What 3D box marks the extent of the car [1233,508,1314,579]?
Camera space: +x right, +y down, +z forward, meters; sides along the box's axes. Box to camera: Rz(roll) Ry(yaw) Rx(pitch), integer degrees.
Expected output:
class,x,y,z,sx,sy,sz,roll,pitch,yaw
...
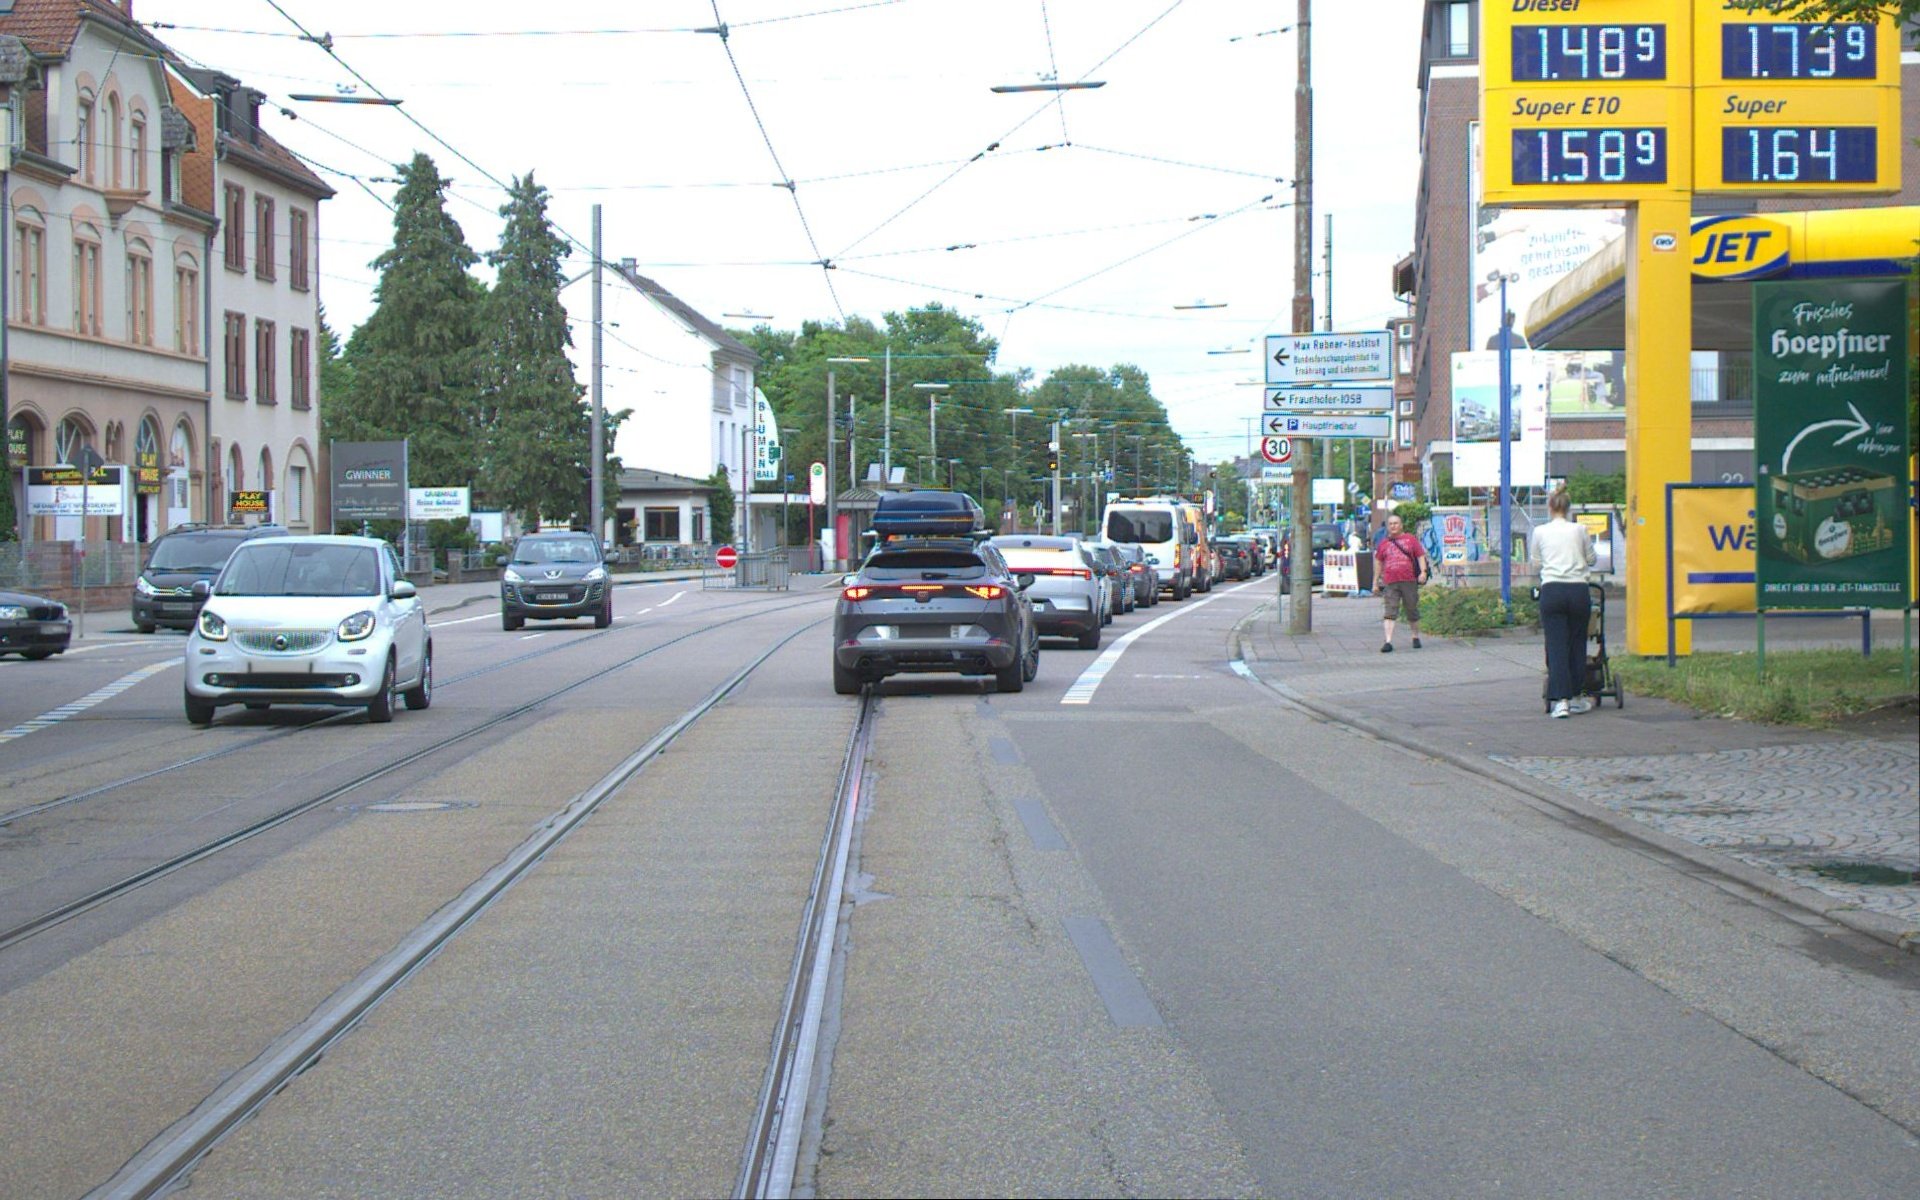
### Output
class,x,y,z,sx,sy,sz,roll,pitch,yaw
car,8.310,-1.483,91.383,1.874,1.817,4.096,1,1,2

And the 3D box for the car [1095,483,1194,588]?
class,x,y,z,sx,sy,sz,roll,pitch,yaw
car,4.424,-1.529,83.043,2.216,2.415,4.951,1,1,2

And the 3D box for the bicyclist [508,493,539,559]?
class,x,y,z,sx,sy,sz,roll,pitch,yaw
bicyclist,-11.768,-1.995,92.653,0.735,1.743,0.979,-1,1,-11

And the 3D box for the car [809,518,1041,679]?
class,x,y,z,sx,sy,sz,roll,pitch,yaw
car,-0.274,-0.032,34.124,1.990,1.492,4.325,0,0,4

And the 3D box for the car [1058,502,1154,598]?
class,x,y,z,sx,sy,sz,roll,pitch,yaw
car,3.209,-1.080,75.200,1.994,2.007,4.000,1,1,3

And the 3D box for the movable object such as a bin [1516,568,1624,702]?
class,x,y,z,sx,sy,sz,roll,pitch,yaw
movable object such as a bin,4.975,0.278,27.999,0.768,1.035,1.023,-2,1,14

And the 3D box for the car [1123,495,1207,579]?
class,x,y,z,sx,sy,sz,roll,pitch,yaw
car,5.500,-1.679,92.564,2.139,2.138,4.743,1,1,3

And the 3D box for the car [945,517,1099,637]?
class,x,y,z,sx,sy,sz,roll,pitch,yaw
car,0.809,-0.342,47.628,1.981,1.544,4.183,1,1,-1

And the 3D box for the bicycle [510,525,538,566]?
class,x,y,z,sx,sy,sz,roll,pitch,yaw
bicycle,-11.759,-1.475,92.674,0.586,1.070,1.958,-1,1,-11

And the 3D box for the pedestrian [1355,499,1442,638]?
class,x,y,z,sx,sy,sz,roll,pitch,yaw
pedestrian,5.634,-0.402,44.226,0.972,1.732,0.861,-2,0,3

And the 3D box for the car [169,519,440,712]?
class,x,y,z,sx,sy,sz,roll,pitch,yaw
car,-5.507,0.105,29.284,1.703,1.524,3.742,0,1,-2

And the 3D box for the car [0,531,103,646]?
class,x,y,z,sx,sy,sz,roll,pitch,yaw
car,-12.973,-0.172,43.260,3.923,1.383,1.800,1,1,20

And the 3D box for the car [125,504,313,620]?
class,x,y,z,sx,sy,sz,roll,pitch,yaw
car,-12.811,-0.661,59.757,1.992,1.880,4.998,1,1,2

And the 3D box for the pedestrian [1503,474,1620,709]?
class,x,y,z,sx,sy,sz,roll,pitch,yaw
pedestrian,4.759,-0.075,27.154,0.768,1.790,1.161,-2,1,14

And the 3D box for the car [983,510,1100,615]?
class,x,y,z,sx,sy,sz,roll,pitch,yaw
car,1.428,-0.664,60.905,1.969,1.750,3.838,1,1,1

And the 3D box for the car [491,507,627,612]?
class,x,y,z,sx,sy,sz,roll,pitch,yaw
car,-6.840,-0.697,58.994,1.827,1.731,4.335,0,1,0

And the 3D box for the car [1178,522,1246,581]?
class,x,y,z,sx,sy,sz,roll,pitch,yaw
car,8.870,-1.695,121.237,1.993,2.007,4.000,1,1,-1

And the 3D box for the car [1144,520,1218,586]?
class,x,y,z,sx,sy,sz,roll,pitch,yaw
car,6.995,-1.499,109.141,1.993,2.007,4.000,1,1,-1

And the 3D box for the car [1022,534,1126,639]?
class,x,y,z,sx,sy,sz,roll,pitch,yaw
car,2.288,-0.283,69.264,1.993,2.007,4.000,1,1,2
